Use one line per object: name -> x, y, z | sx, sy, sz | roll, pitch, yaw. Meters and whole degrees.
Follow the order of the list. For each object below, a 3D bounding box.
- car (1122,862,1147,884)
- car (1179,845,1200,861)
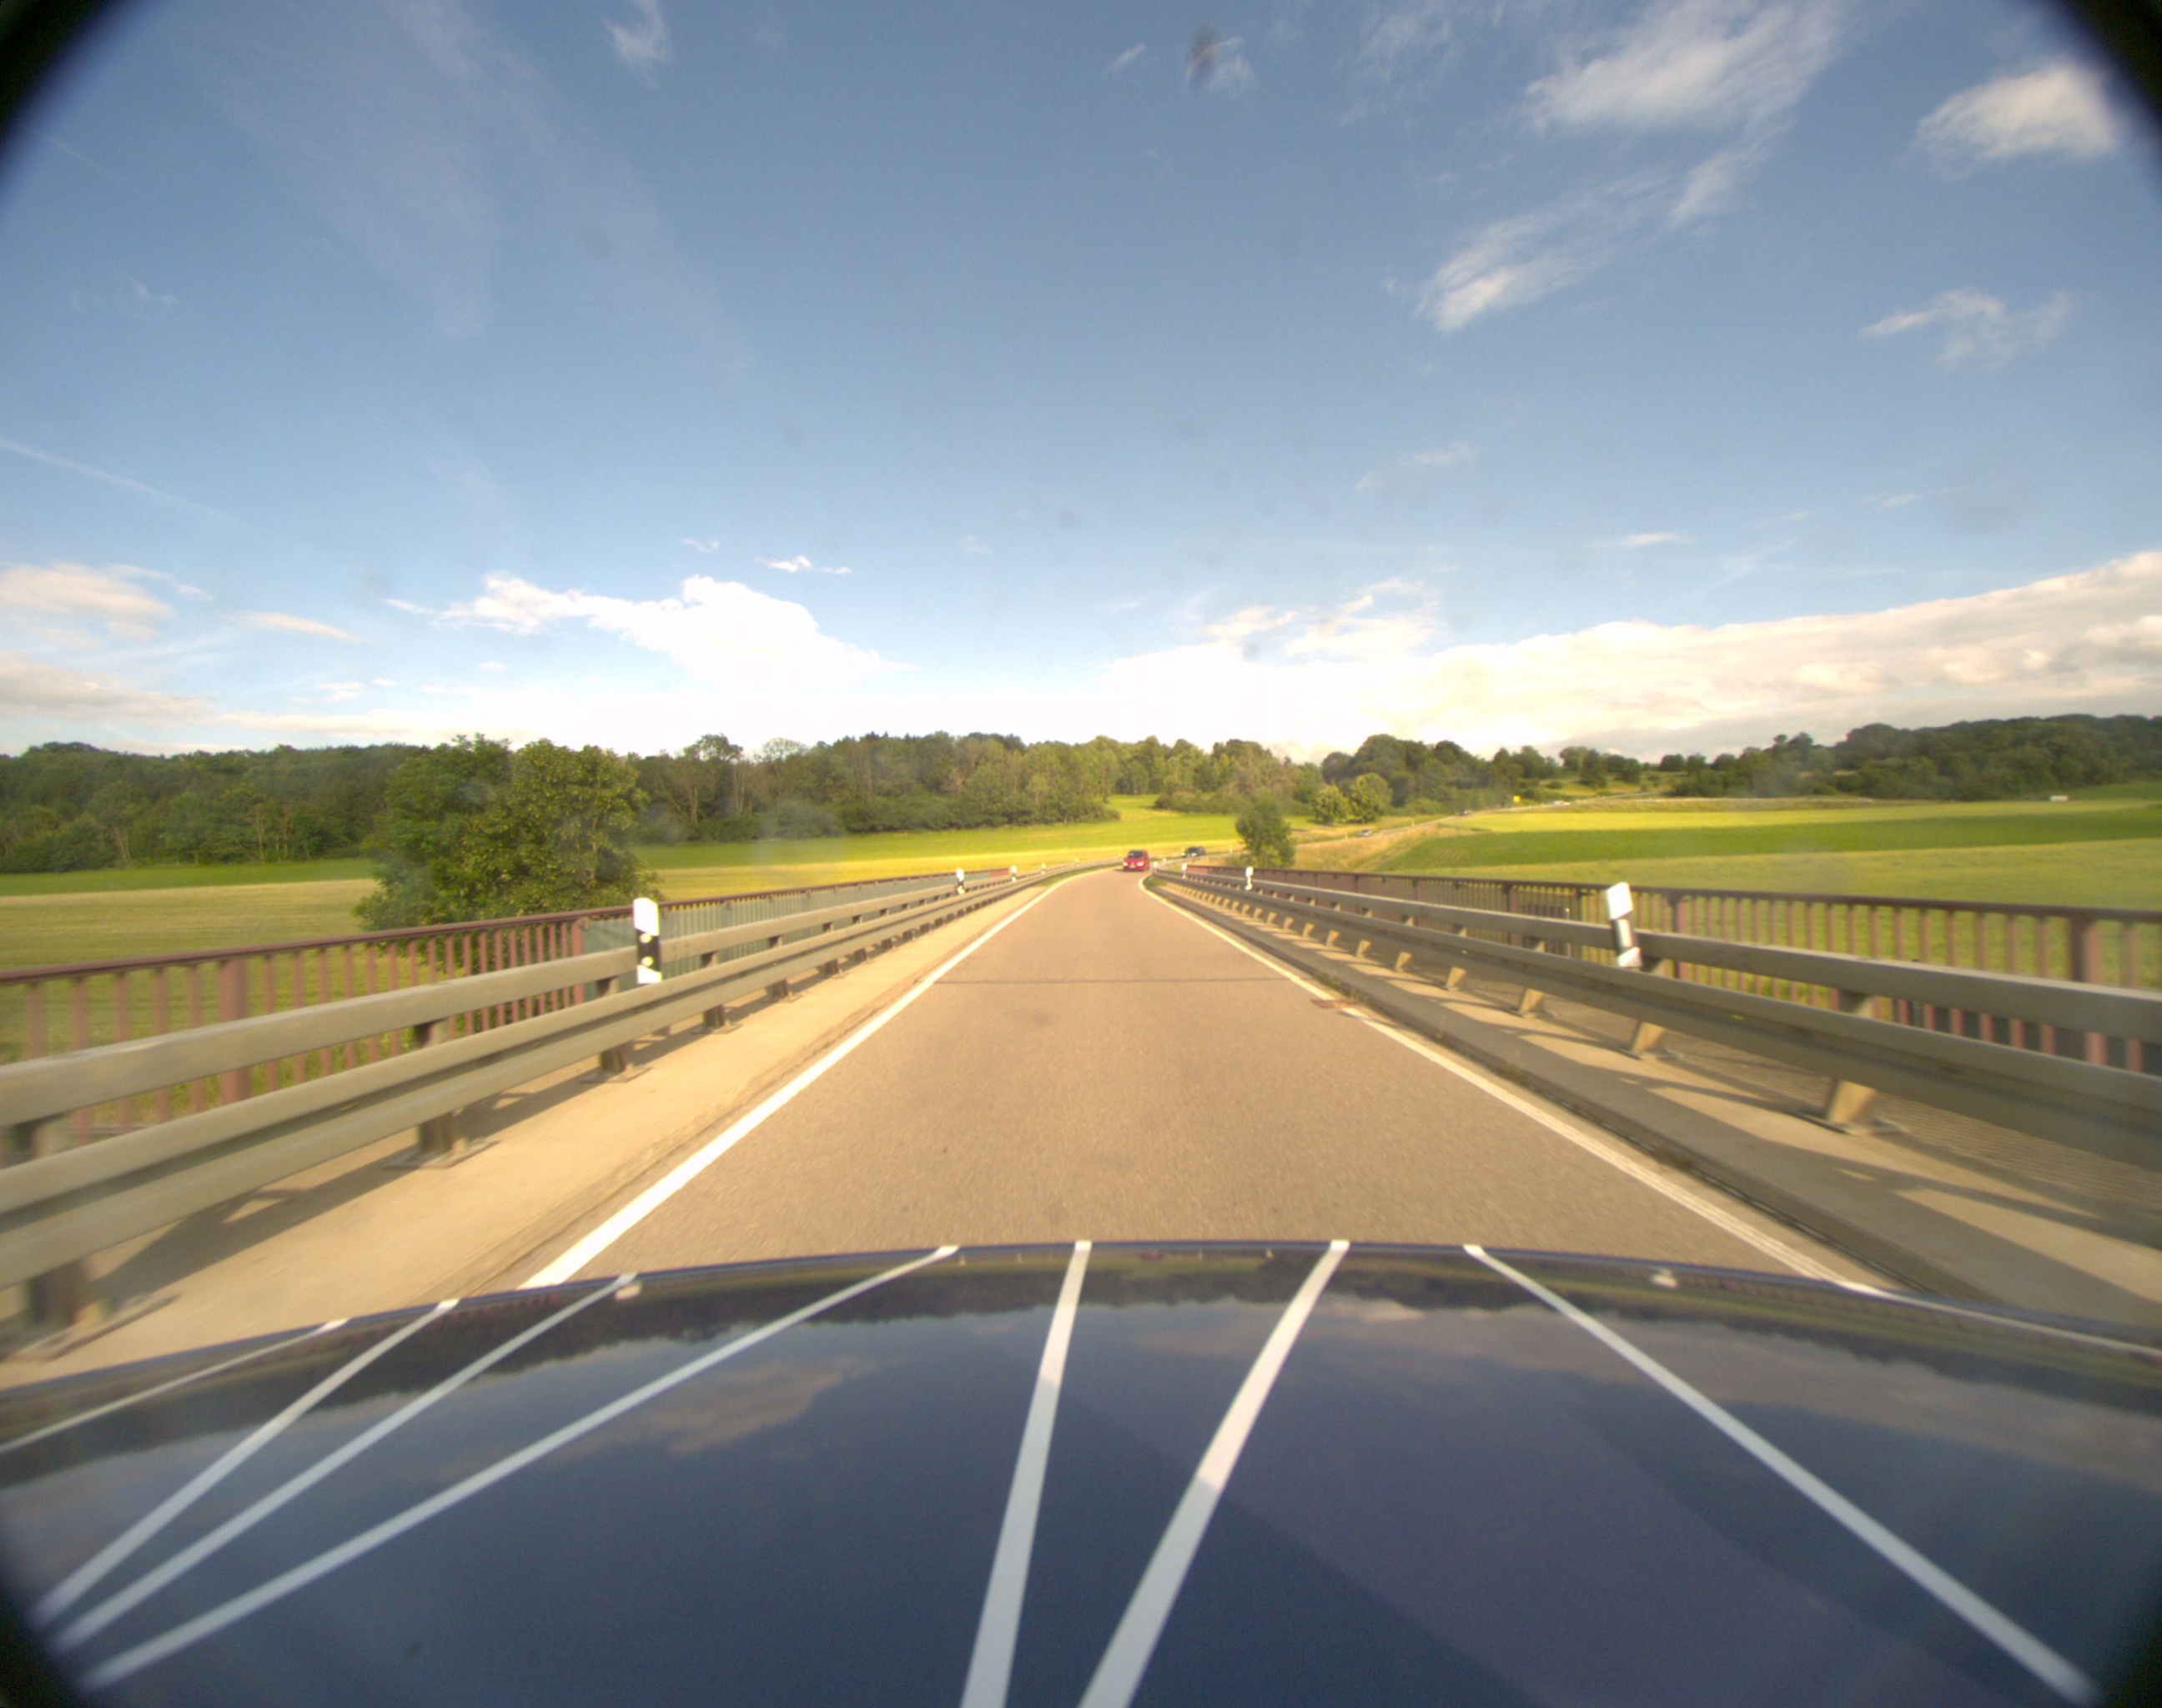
car -> 4.575, 1.607, 64.866 | 1.821, 1.645, 4.000 | -2, 0, 0
car -> 12.458, -0.134, 87.161 | 1.818, 1.602, 4.003 | 0, 3, 16
